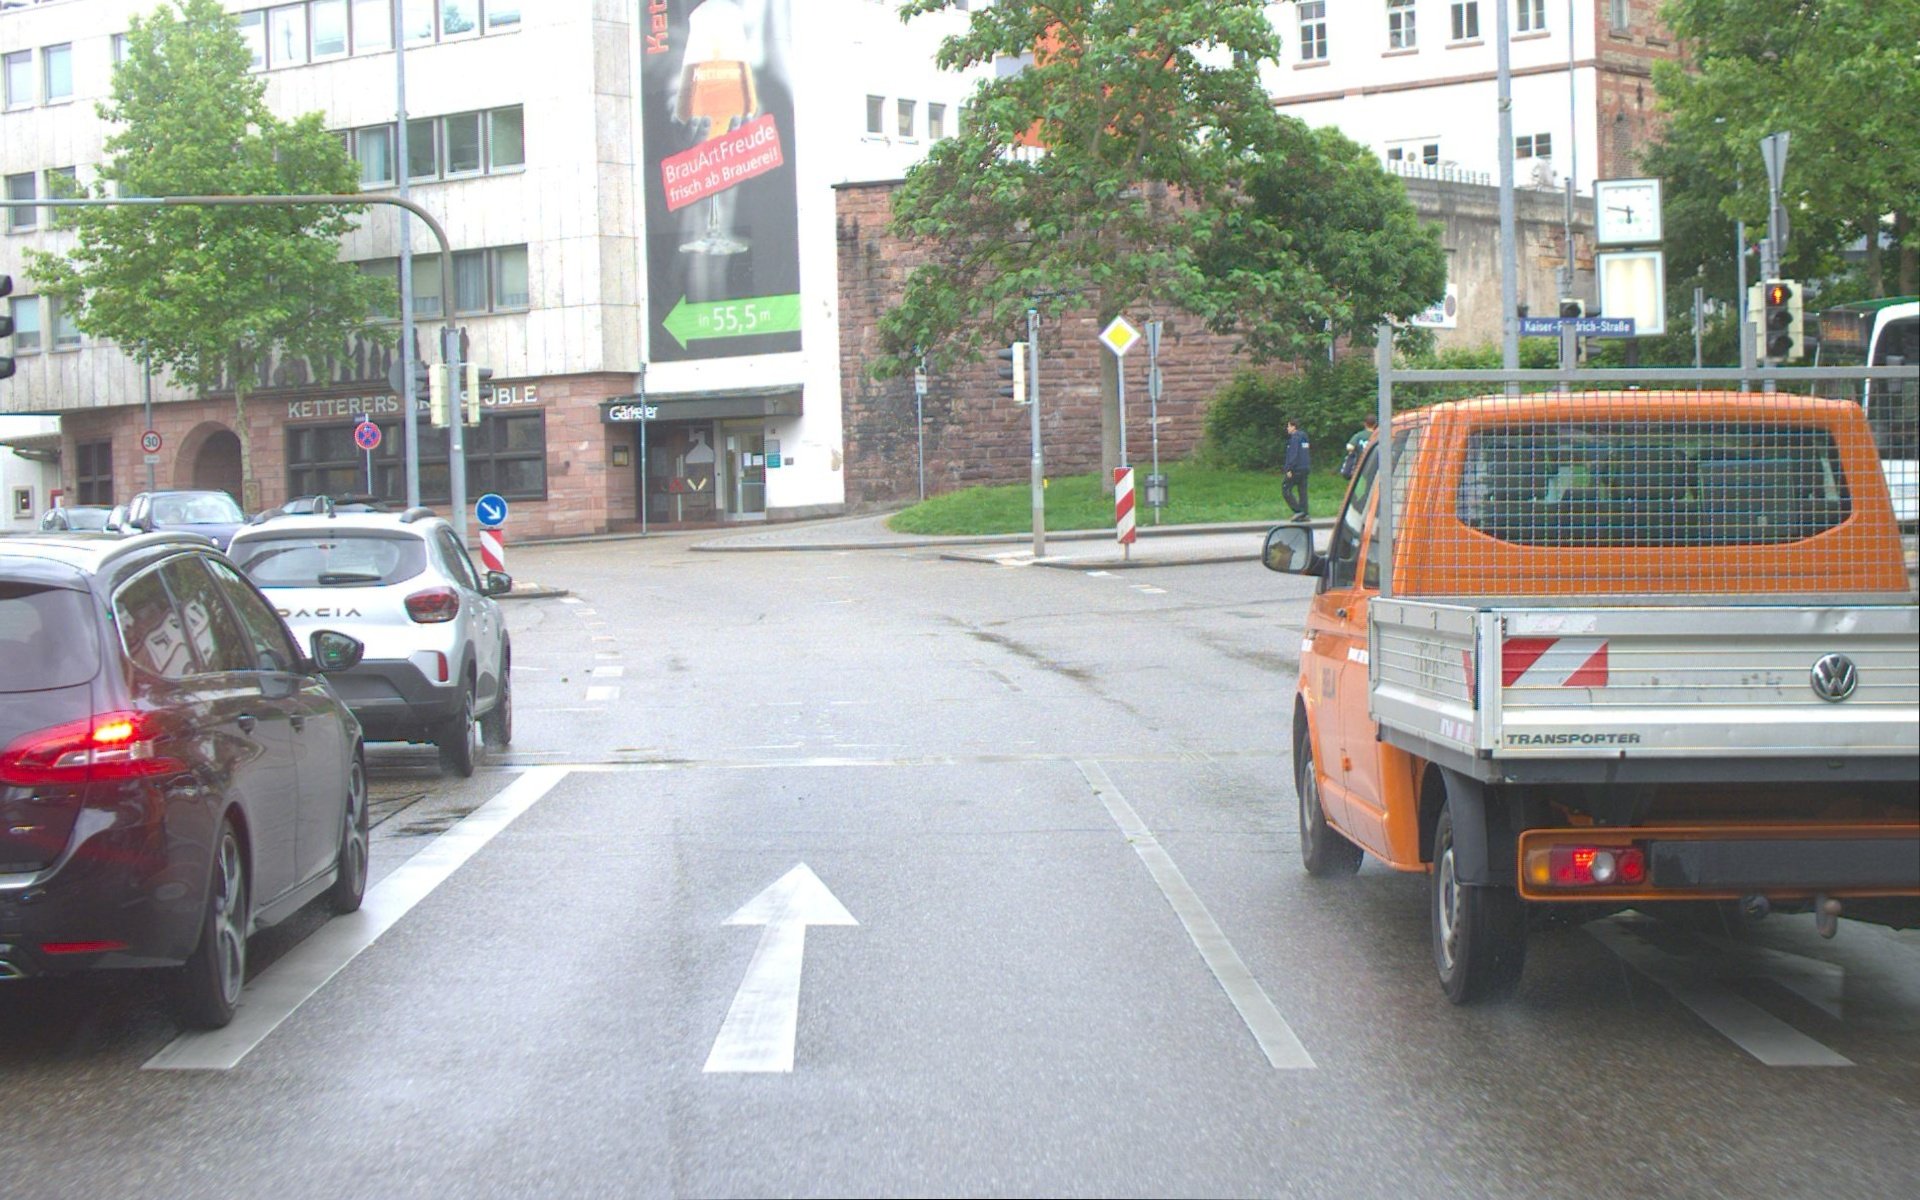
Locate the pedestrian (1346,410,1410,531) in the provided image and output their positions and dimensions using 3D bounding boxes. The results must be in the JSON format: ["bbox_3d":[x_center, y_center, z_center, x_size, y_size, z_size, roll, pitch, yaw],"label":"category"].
[{"bbox_3d":[6.365,-1.966,52.427,0.879,1.825,0.729,-1,1,1],"label":"pedestrian"}]

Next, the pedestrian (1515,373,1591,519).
[{"bbox_3d":[8.438,-2.191,48.918,0.786,2.006,0.587,-1,4,35],"label":"pedestrian"}]

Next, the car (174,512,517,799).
[{"bbox_3d":[-3.531,0.250,20.277,1.536,1.456,3.630,-2,2,-3],"label":"car"}]

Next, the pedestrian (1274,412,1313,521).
[{"bbox_3d":[5.510,-2.191,56.717,0.597,1.775,0.656,0,0,9],"label":"pedestrian"}]

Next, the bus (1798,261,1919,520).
[{"bbox_3d":[15.966,-2.828,44.306,9.626,3.205,2.706,-2,3,-2],"label":"bus"}]

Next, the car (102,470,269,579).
[{"bbox_3d":[-12.526,-1.234,55.429,1.755,1.609,4.212,-4,3,-24],"label":"car"}]

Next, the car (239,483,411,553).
[{"bbox_3d":[-13.356,-1.711,72.090,1.790,1.398,4.633,-2,1,-35],"label":"car"}]

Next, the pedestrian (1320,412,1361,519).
[{"bbox_3d":[5.791,-2.043,52.362,0.566,1.610,0.691,0,0,2],"label":"pedestrian"}]

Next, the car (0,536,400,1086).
[{"bbox_3d":[-3.020,0.518,11.159,1.799,1.429,4.397,-1,1,-2],"label":"car"}]

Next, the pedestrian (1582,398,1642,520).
[{"bbox_3d":[9.294,-2.011,49.005,0.556,1.699,0.528,-5,4,-30],"label":"pedestrian"}]

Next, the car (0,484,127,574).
[{"bbox_3d":[-17.375,-1.388,66.258,1.755,1.609,4.212,-4,3,-24],"label":"car"}]

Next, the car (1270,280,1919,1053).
[{"bbox_3d":[2.383,0.122,12.079,2.102,2.082,5.542,-1,1,0],"label":"car"}]
